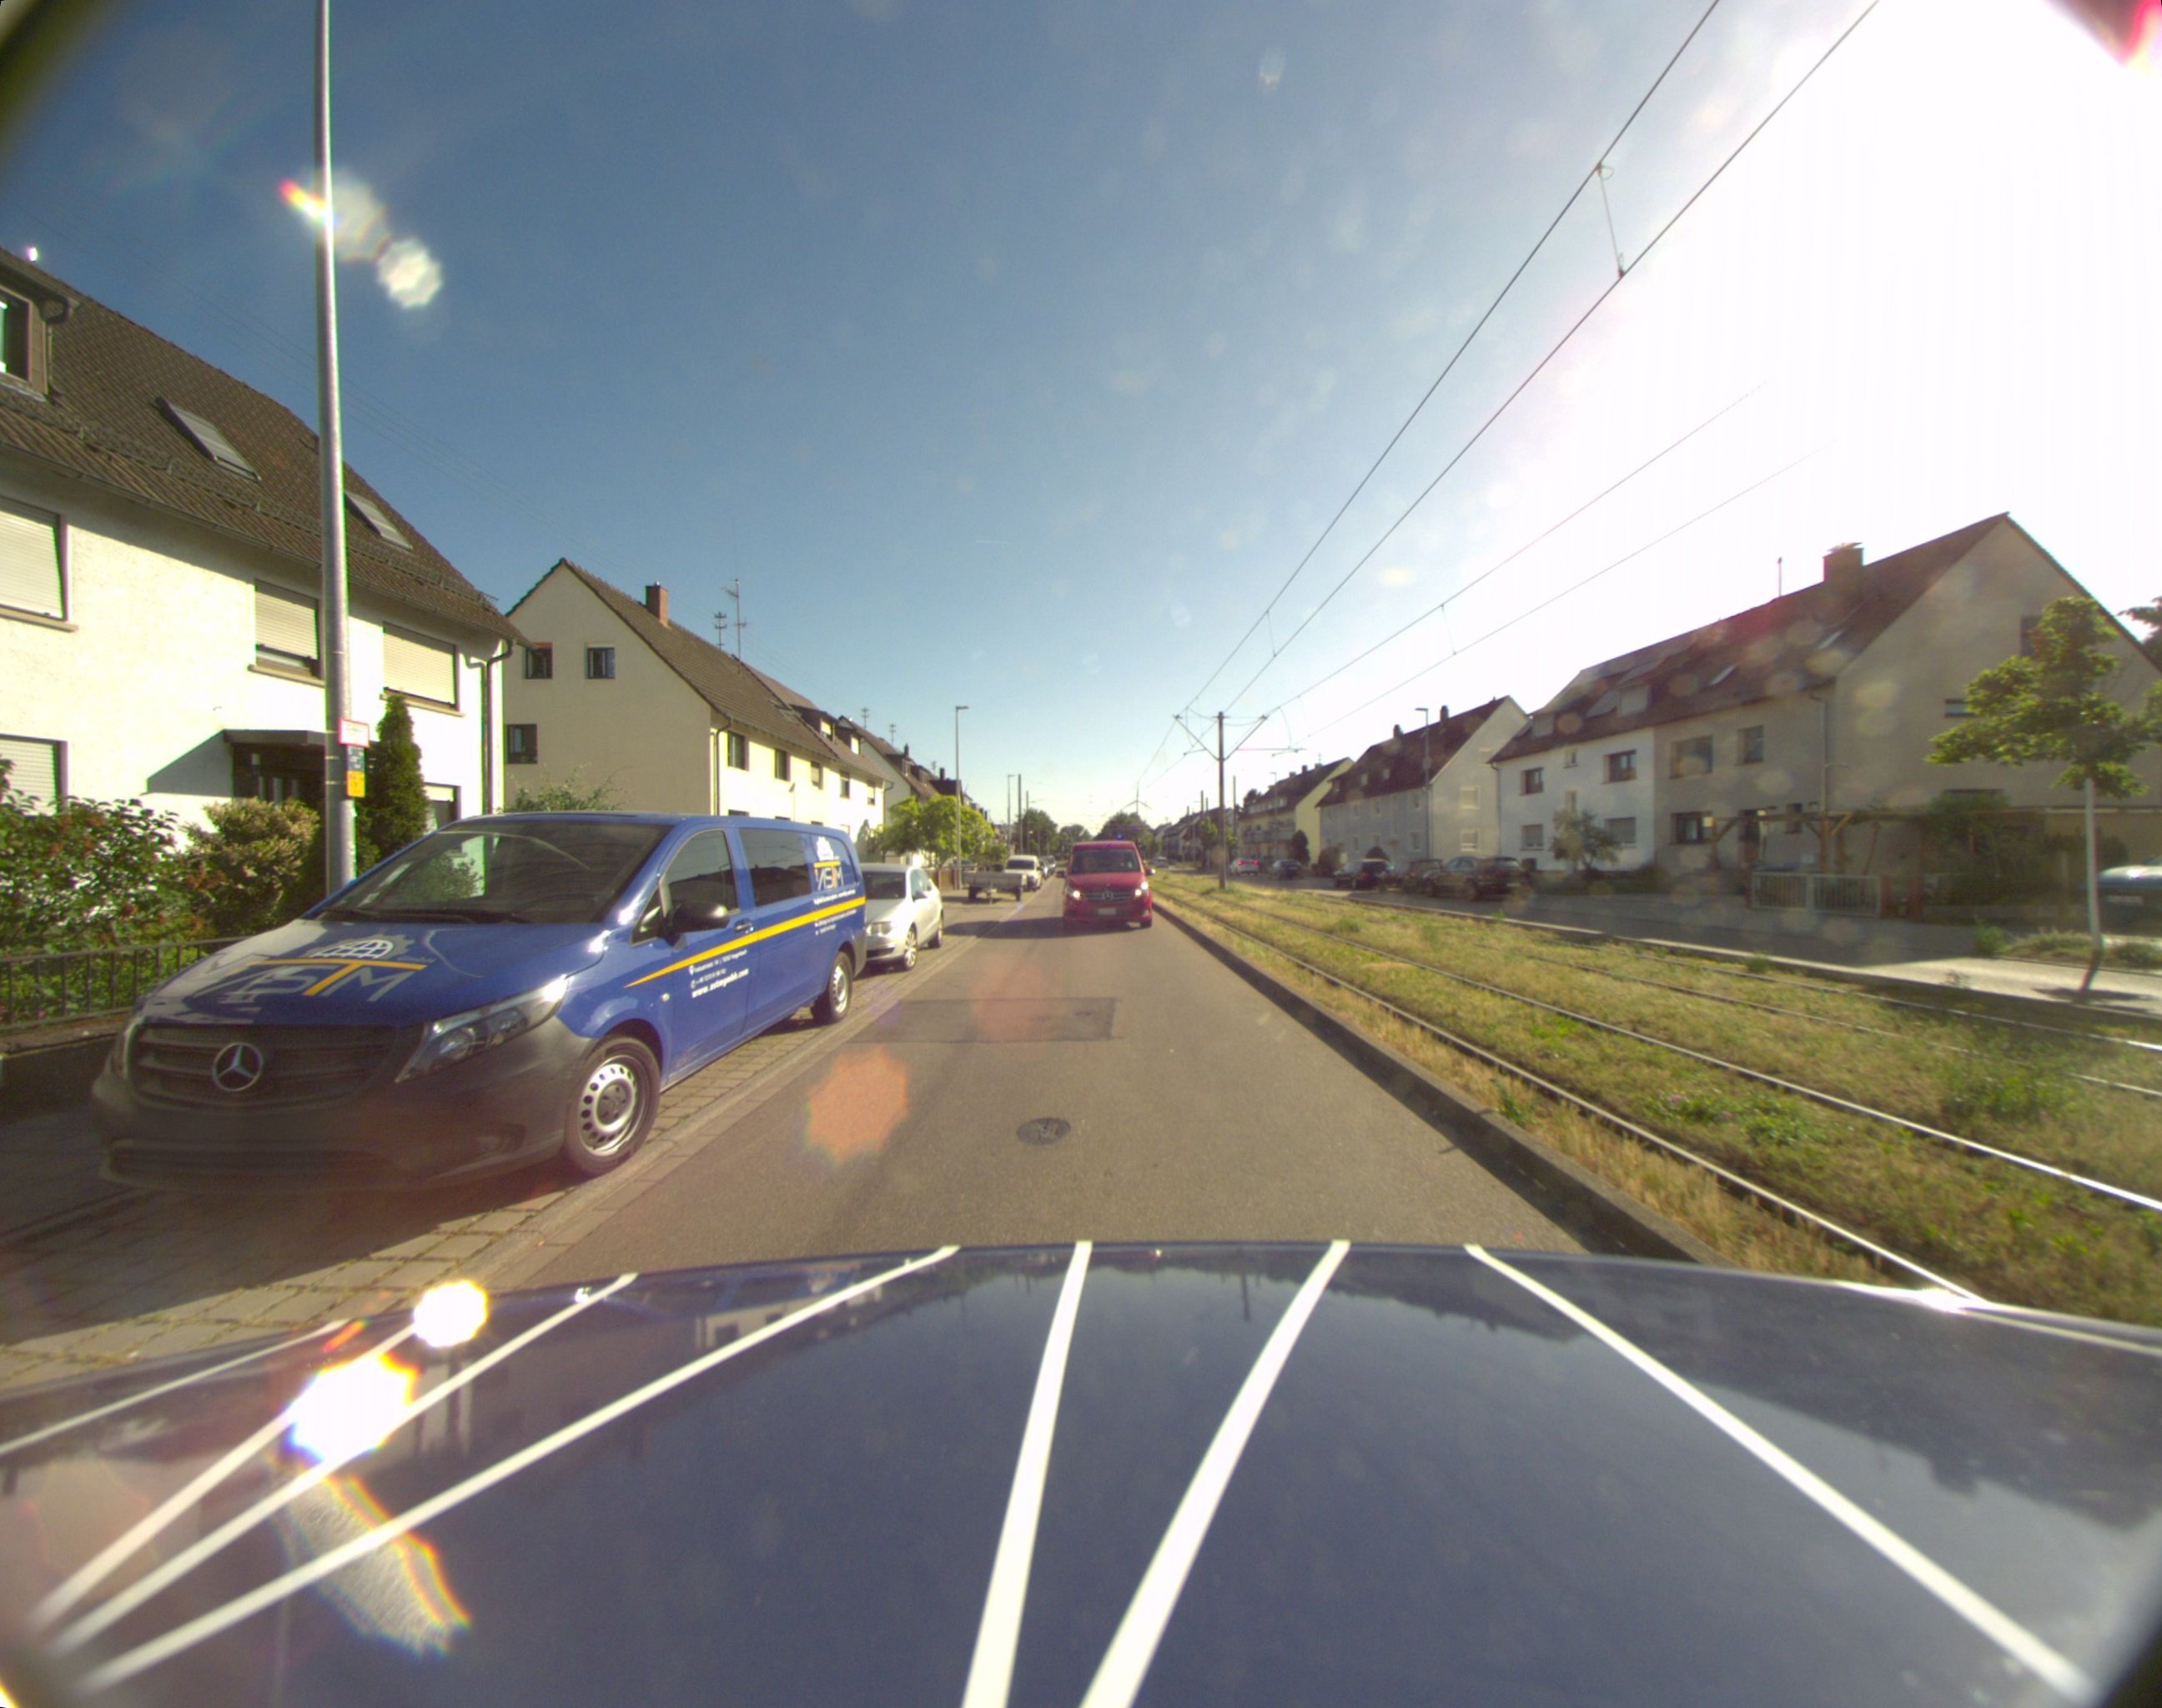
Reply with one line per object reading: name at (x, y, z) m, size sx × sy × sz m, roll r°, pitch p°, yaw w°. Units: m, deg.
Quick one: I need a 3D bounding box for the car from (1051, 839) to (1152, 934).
car at (0.459, 0.652, 18.168) m, size 1.998 × 1.889 × 5.390 m, roll -1°, pitch 0°, yaw 1°

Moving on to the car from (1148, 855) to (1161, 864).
car at (13.562, 1.074, 139.968) m, size 2.016 × 1.560 × 4.092 m, roll -2°, pitch 0°, yaw 1°

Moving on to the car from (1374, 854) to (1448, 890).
car at (14.099, 0.734, 32.667) m, size 1.469 × 1.459 × 3.999 m, roll 0°, pitch 0°, yaw 0°

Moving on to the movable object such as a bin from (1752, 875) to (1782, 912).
movable object such as a bin at (17.783, 1.019, 19.700) m, size 0.198 × 0.941 × 0.607 m, roll -2°, pitch -1°, yaw 4°

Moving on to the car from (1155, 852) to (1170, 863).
car at (11.388, 0.457, 105.970) m, size 1.704 × 1.455 × 4.092 m, roll -2°, pitch 0°, yaw 1°

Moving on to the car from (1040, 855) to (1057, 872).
car at (-3.115, 0.899, 73.704) m, size 1.524 × 1.571 × 4.583 m, roll 2°, pitch 0°, yaw -2°

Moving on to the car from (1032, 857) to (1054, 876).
car at (-3.111, 0.980, 63.173) m, size 1.632 × 1.460 × 4.481 m, roll 2°, pitch 0°, yaw -2°

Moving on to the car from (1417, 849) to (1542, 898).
car at (14.182, 0.622, 27.415) m, size 1.925 × 1.551 × 4.858 m, roll -2°, pitch 0°, yaw 0°

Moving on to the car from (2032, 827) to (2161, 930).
car at (20.840, 0.408, 13.877) m, size 4.403 × 1.773 × 1.970 m, roll -1°, pitch 0°, yaw 1°

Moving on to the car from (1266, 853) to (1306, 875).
car at (14.143, 0.666, 52.680) m, size 1.704 × 1.389 × 4.092 m, roll -2°, pitch 0°, yaw 1°

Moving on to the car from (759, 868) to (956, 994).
car at (-3.192, 0.997, 12.038) m, size 1.735 × 1.450 × 5.284 m, roll 0°, pitch 0°, yaw -2°

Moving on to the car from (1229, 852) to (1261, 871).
car at (13.900, 0.613, 64.648) m, size 1.831 × 1.522 × 4.092 m, roll -2°, pitch 0°, yaw 1°

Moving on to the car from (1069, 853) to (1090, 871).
car at (-0.163, 0.754, 75.416) m, size 1.861 × 1.592 × 4.327 m, roll 2°, pitch 0°, yaw -2°

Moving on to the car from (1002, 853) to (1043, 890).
car at (-2.921, 0.836, 38.867) m, size 1.796 × 1.752 × 4.583 m, roll 2°, pitch 0°, yaw -2°

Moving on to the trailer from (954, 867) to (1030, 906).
trailer at (-3.181, 1.147, 28.500) m, size 2.278 × 1.124 × 6.435 m, roll 2°, pitch 0°, yaw -2°

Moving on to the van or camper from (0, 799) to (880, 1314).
van or camper at (-3.205, 0.710, 5.509) m, size 1.954 × 1.836 × 5.582 m, roll 0°, pitch 0°, yaw 0°

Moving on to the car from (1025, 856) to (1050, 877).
car at (-3.268, 0.922, 57.355) m, size 1.682 × 1.471 × 4.388 m, roll 2°, pitch 0°, yaw -2°

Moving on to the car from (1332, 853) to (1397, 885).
car at (14.024, 0.710, 37.839) m, size 1.657 × 1.447 × 4.400 m, roll -2°, pitch 0°, yaw 1°

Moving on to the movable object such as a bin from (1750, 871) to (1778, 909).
movable object such as a bin at (18.447, 0.965, 20.520) m, size 0.198 × 1.007 × 0.607 m, roll -2°, pitch -1°, yaw 4°
